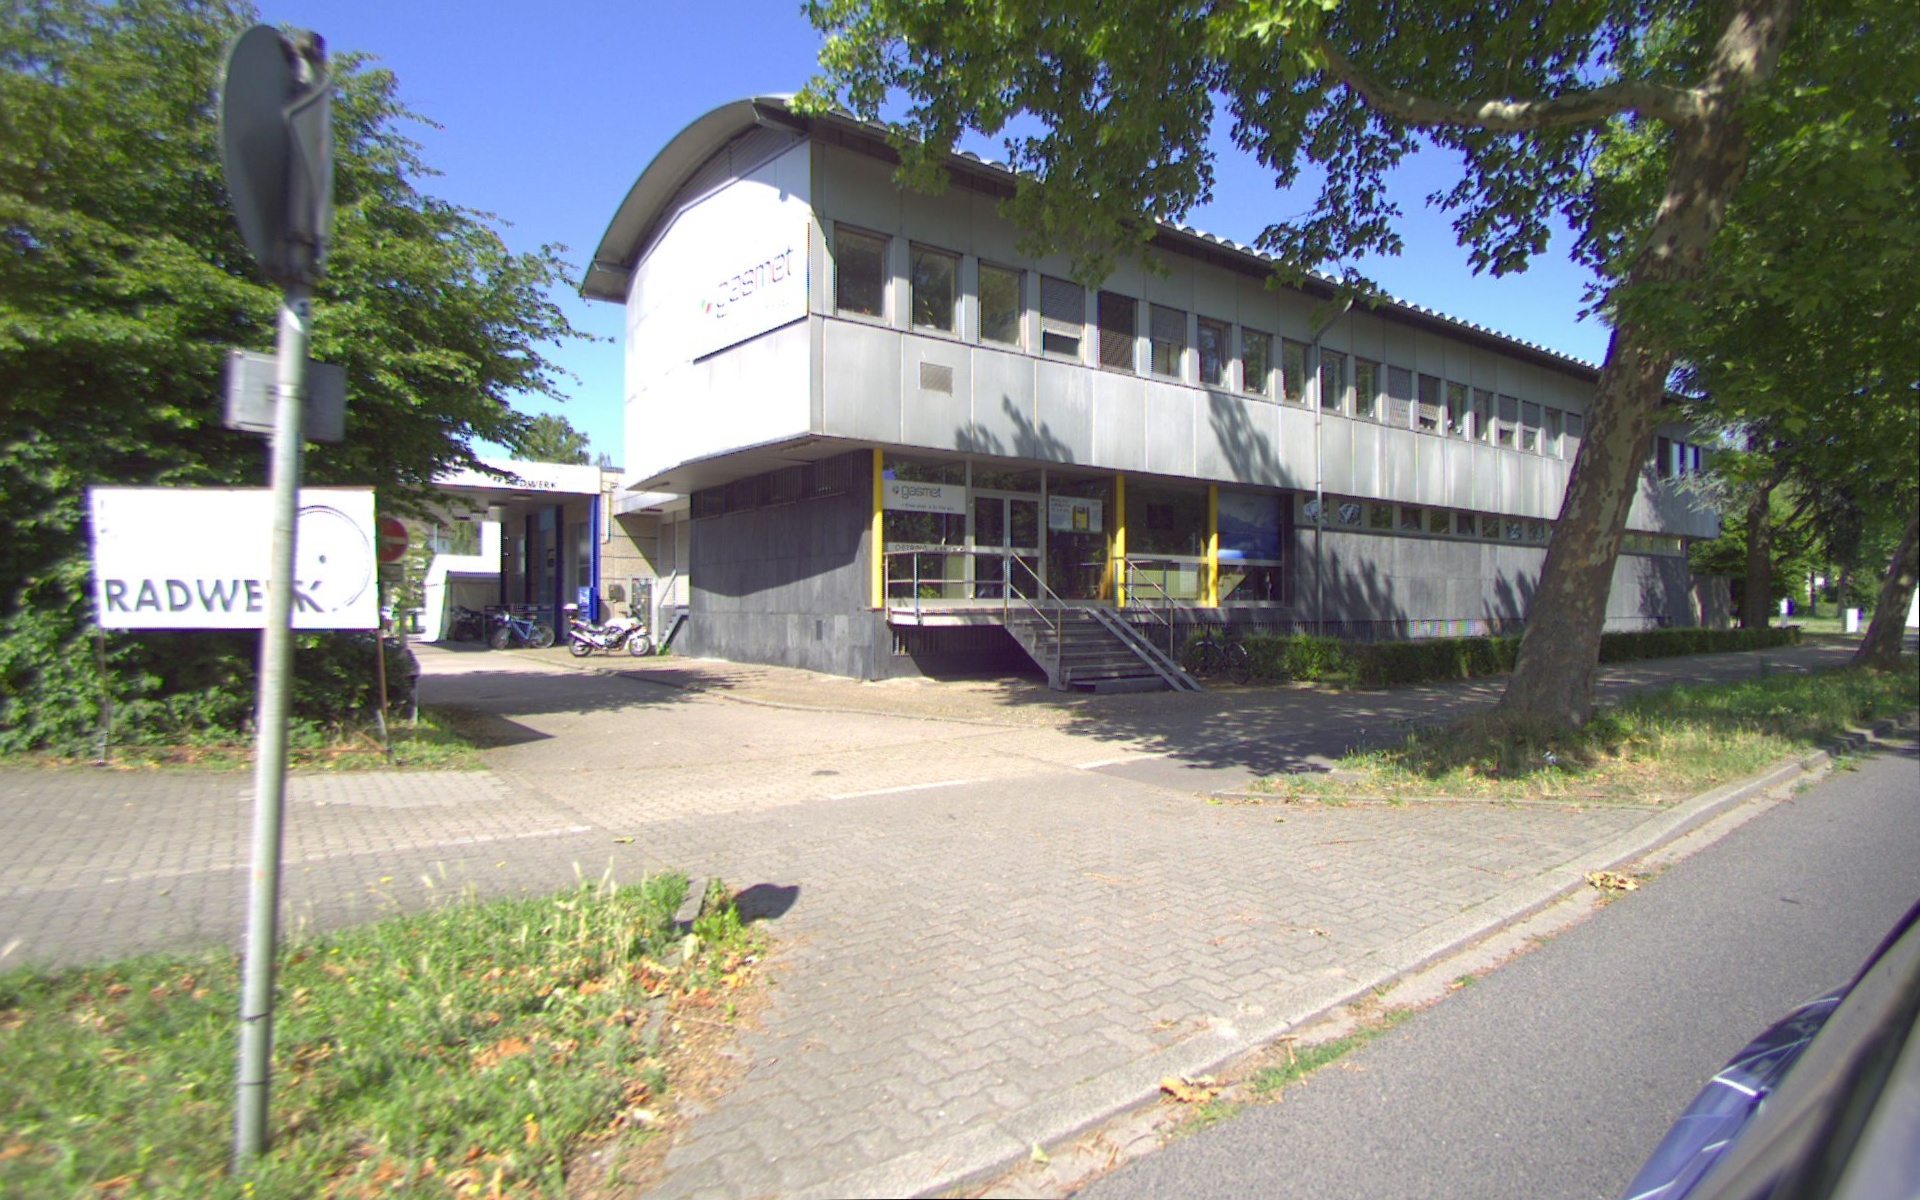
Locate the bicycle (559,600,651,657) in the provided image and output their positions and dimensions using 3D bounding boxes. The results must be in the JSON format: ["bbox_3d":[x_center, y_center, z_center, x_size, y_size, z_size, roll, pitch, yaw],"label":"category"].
[{"bbox_3d":[-8.996,0.698,25.761,2.133,1.368,0.823,-1,0,-15],"label":"bicycle"}]

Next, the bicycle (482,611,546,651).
[{"bbox_3d":[-13.543,0.934,30.732,1.698,1.163,0.811,0,0,-32],"label":"bicycle"}]

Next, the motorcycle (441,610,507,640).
[{"bbox_3d":[-18.096,0.904,37.683,2.186,1.057,0.856,0,0,-27],"label":"motorcycle"}]

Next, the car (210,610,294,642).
[{"bbox_3d":[-49.153,1.773,70.319,4.305,1.986,1.861,3,-2,-15],"label":"car"}]

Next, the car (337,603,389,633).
[{"bbox_3d":[-38.978,1.220,66.148,1.657,1.906,3.715,0,-2,-9],"label":"car"}]

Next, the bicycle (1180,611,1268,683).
[{"bbox_3d":[4.593,0.794,17.709,0.498,1.144,1.679,0,1,-27],"label":"bicycle"}]

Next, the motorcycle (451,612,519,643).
[{"bbox_3d":[-17.019,0.958,36.248,2.186,1.057,0.856,0,0,-27],"label":"motorcycle"}]

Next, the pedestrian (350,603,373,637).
[{"bbox_3d":[-29.388,0.968,49.710,0.942,1.623,0.868,0,0,-34],"label":"pedestrian"}]

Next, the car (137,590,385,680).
[{"bbox_3d":[-13.625,0.652,19.887,3.674,1.683,1.682,0,0,-4],"label":"car"}]

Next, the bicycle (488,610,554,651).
[{"bbox_3d":[-13.009,0.880,29.976,1.698,1.163,0.811,0,0,-32],"label":"bicycle"}]

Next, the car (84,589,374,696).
[{"bbox_3d":[-12.384,0.671,17.344,3.674,1.682,1.683,0,2,-4],"label":"car"}]
